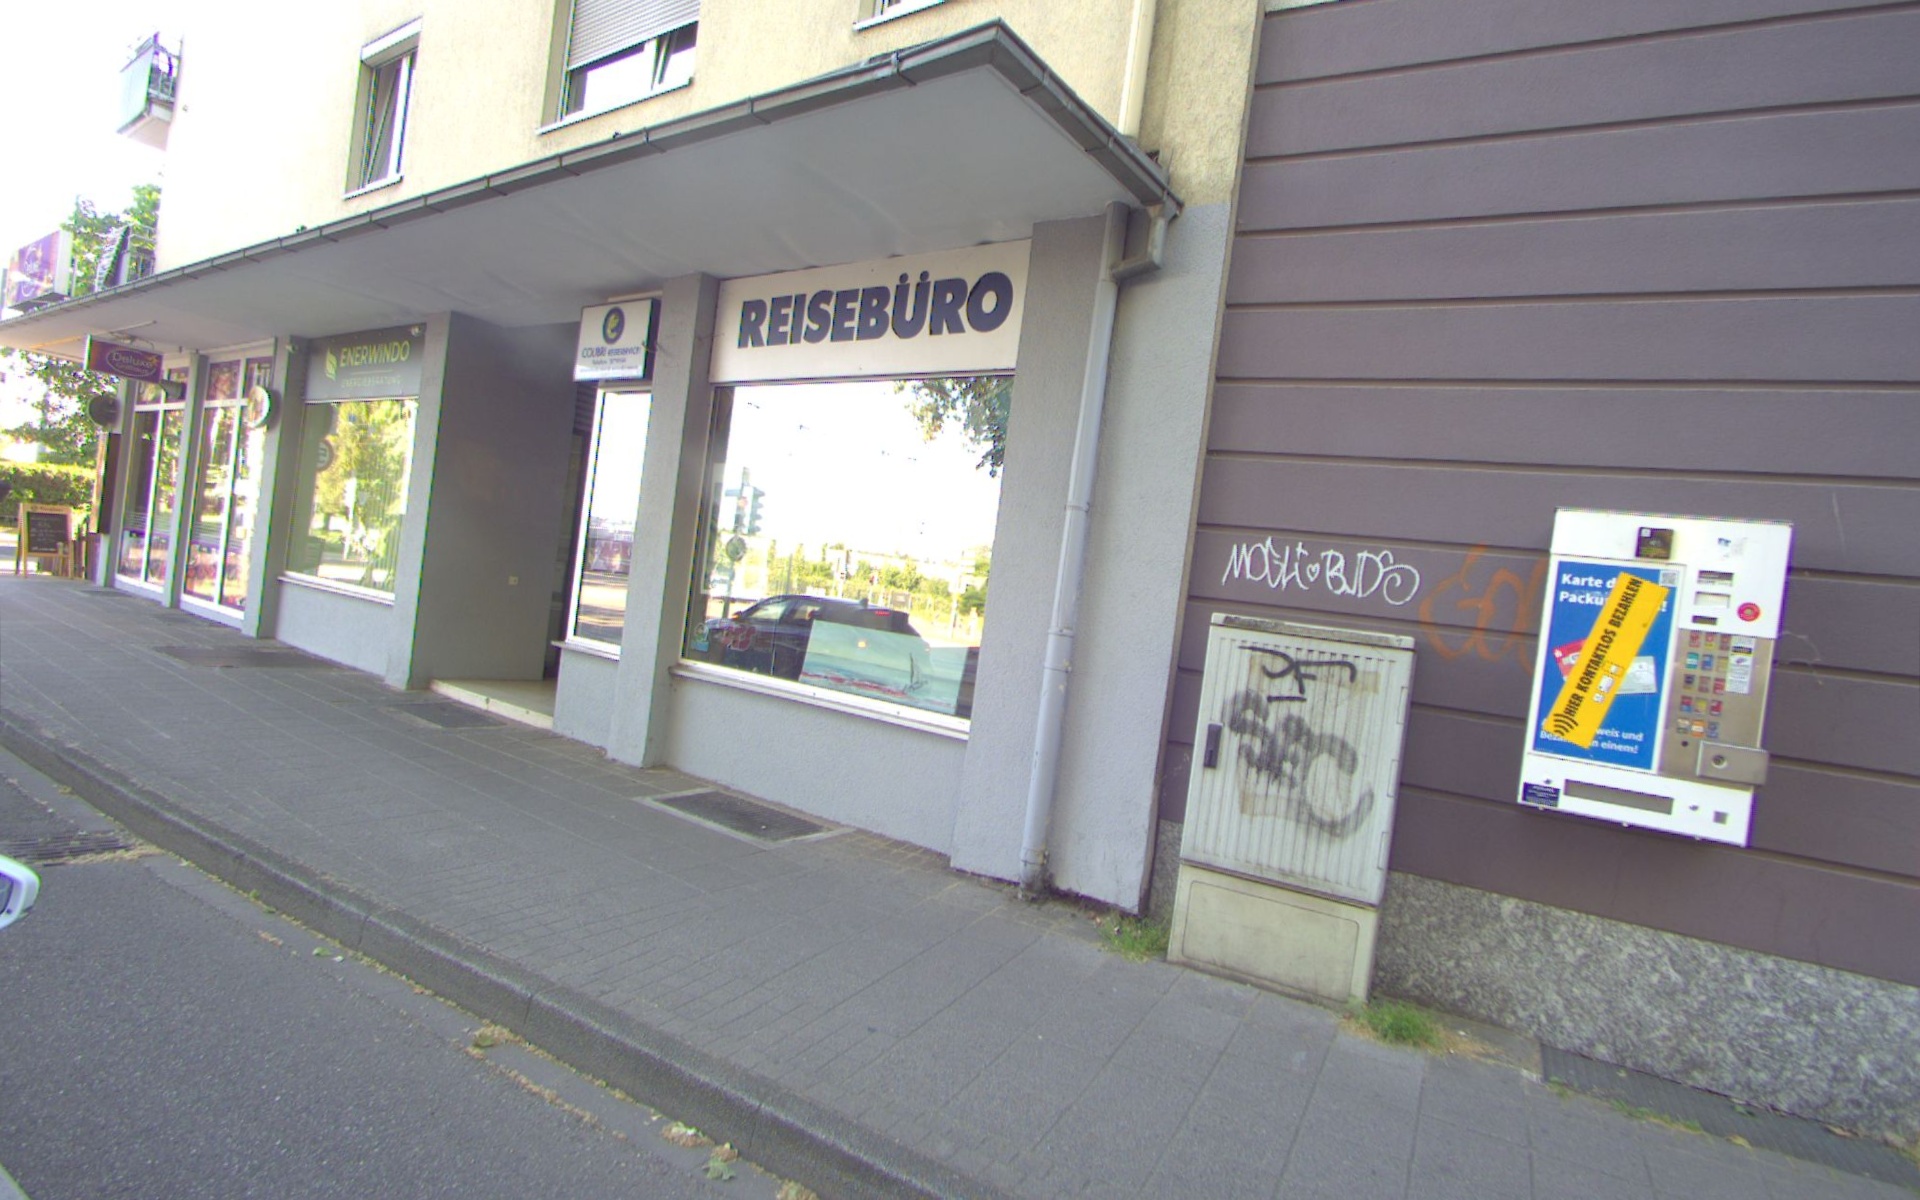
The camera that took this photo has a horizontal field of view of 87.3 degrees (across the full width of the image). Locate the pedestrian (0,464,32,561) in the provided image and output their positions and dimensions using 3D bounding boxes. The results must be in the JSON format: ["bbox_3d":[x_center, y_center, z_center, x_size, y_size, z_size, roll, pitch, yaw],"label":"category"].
[{"bbox_3d":[-18.890,-1.735,19.689,0.695,1.869,0.698,7,1,-19],"label":"pedestrian"}]
